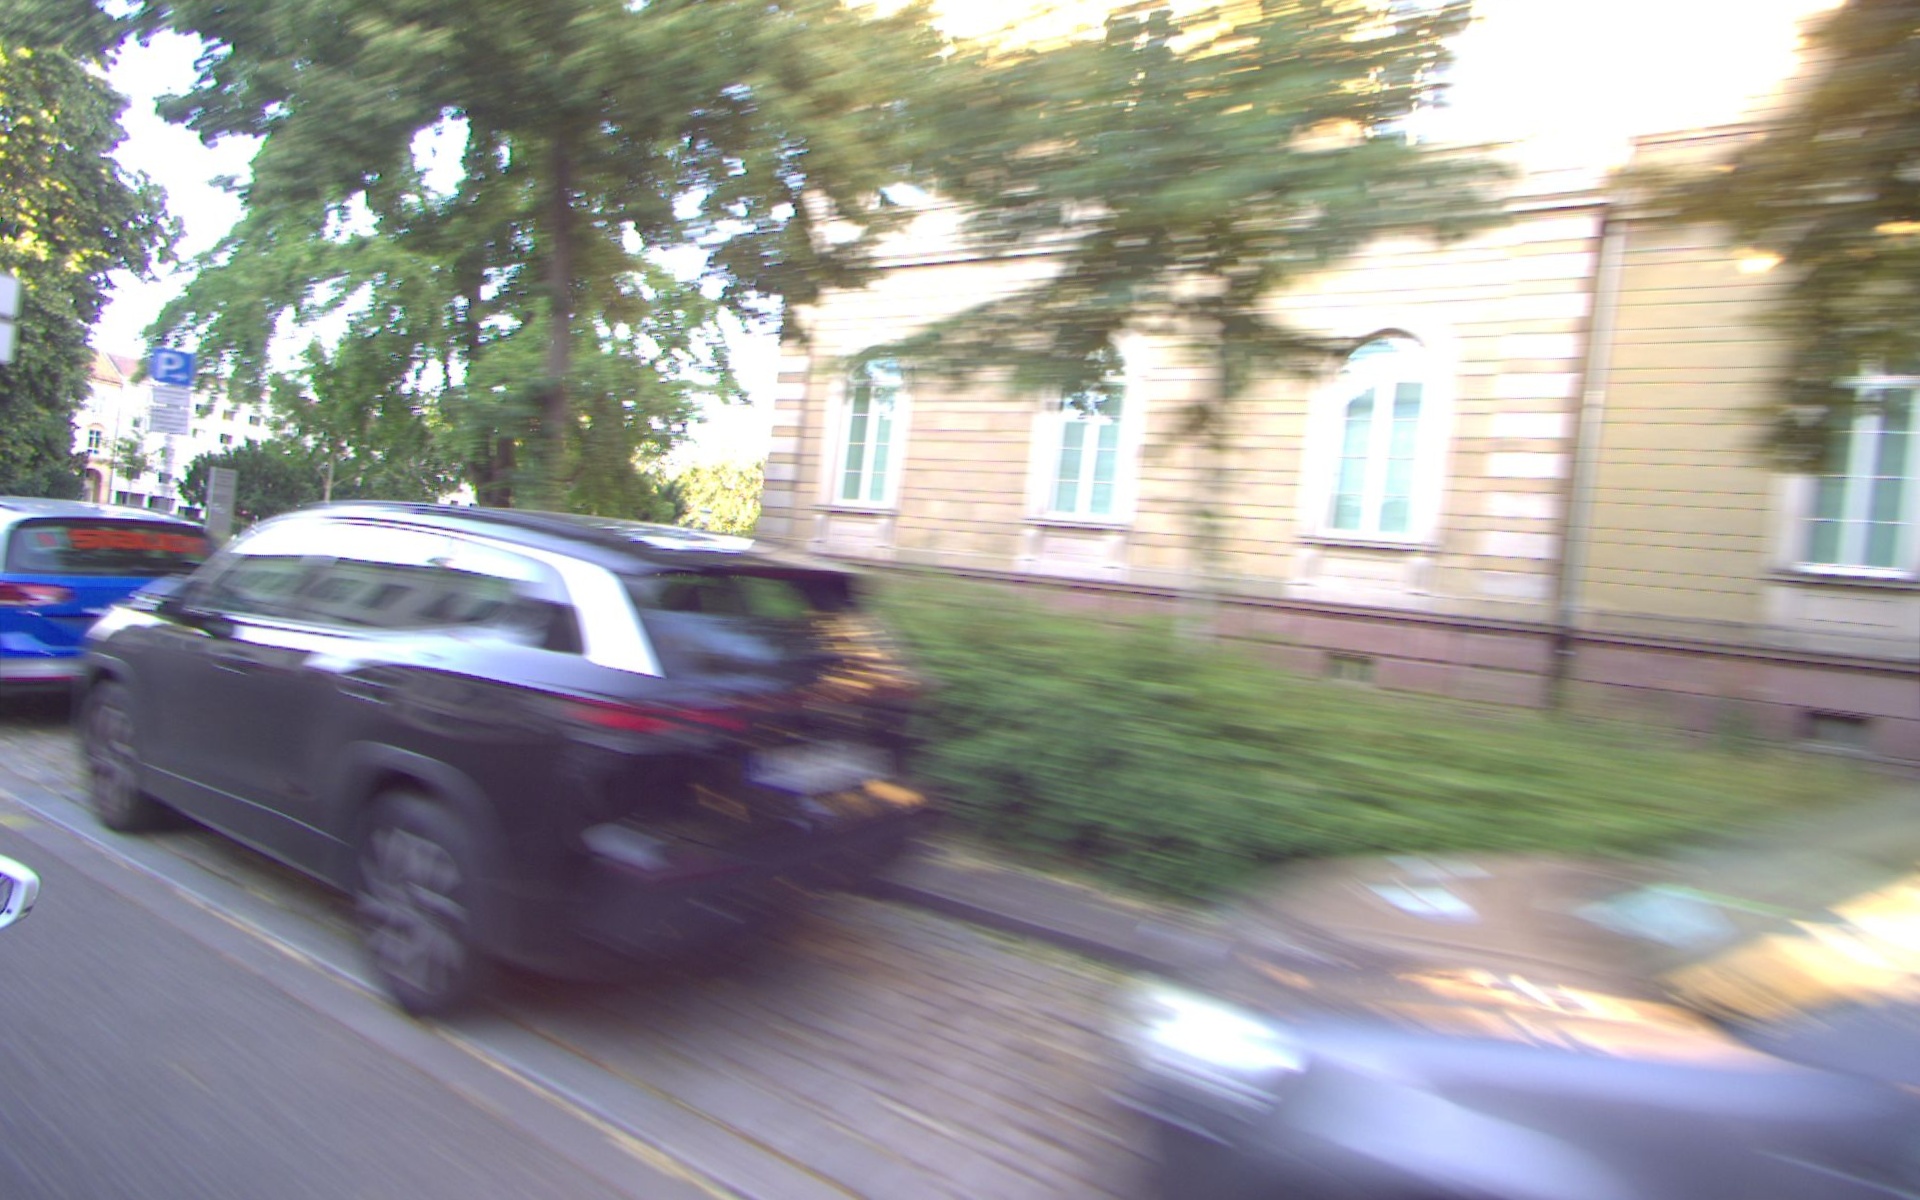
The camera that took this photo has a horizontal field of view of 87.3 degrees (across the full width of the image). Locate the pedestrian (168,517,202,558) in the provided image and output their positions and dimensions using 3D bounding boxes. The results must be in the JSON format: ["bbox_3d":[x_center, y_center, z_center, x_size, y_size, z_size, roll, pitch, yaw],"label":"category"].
[{"bbox_3d":[-24.329,-1.950,31.598,0.657,1.206,0.789,6,0,-31],"label":"pedestrian"}]

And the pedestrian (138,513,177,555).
[{"bbox_3d":[-25.608,-2.100,32.094,0.735,1.206,0.722,6,0,34],"label":"pedestrian"}]

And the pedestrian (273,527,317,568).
[{"bbox_3d":[-24.231,-1.902,36.663,0.868,1.364,0.920,6,0,16],"label":"pedestrian"}]

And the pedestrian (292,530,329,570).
[{"bbox_3d":[-24.256,-1.858,37.578,0.773,1.364,0.761,6,0,15],"label":"pedestrian"}]

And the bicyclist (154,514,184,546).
[{"bbox_3d":[-45.199,-3.993,57.499,0.585,1.653,1.064,7,0,22],"label":"bicyclist"}]

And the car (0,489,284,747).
[{"bbox_3d":[-7.345,-0.074,7.727,4.532,1.509,1.724,6,3,30],"label":"car"}]

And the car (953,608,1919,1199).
[{"bbox_3d":[2.219,1.019,1.777,4.119,1.557,1.726,6,0,31],"label":"car"}]

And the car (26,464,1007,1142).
[{"bbox_3d":[-2.279,0.387,4.508,4.638,1.672,1.724,6,0,34],"label":"car"}]

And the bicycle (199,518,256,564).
[{"bbox_3d":[-24.566,-1.984,33.723,1.983,1.316,0.620,6,1,27],"label":"bicycle"}]

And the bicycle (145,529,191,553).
[{"bbox_3d":[-45.250,-3.368,57.510,0.585,1.135,1.933,7,-1,22],"label":"bicycle"}]

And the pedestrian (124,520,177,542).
[{"bbox_3d":[-25.179,-2.149,31.293,1.351,0.557,0.541,6,3,12],"label":"pedestrian"}]

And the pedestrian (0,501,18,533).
[{"bbox_3d":[-43.245,-3.766,45.508,0.804,1.358,0.598,6,0,25],"label":"pedestrian"}]

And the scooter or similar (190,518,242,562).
[{"bbox_3d":[-23.527,-1.887,31.834,0.410,1.261,1.220,6,0,18],"label":"scooter or similar"}]

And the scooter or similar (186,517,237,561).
[{"bbox_3d":[-23.972,-1.938,32.244,0.410,1.261,1.221,6,0,15],"label":"scooter or similar"}]
